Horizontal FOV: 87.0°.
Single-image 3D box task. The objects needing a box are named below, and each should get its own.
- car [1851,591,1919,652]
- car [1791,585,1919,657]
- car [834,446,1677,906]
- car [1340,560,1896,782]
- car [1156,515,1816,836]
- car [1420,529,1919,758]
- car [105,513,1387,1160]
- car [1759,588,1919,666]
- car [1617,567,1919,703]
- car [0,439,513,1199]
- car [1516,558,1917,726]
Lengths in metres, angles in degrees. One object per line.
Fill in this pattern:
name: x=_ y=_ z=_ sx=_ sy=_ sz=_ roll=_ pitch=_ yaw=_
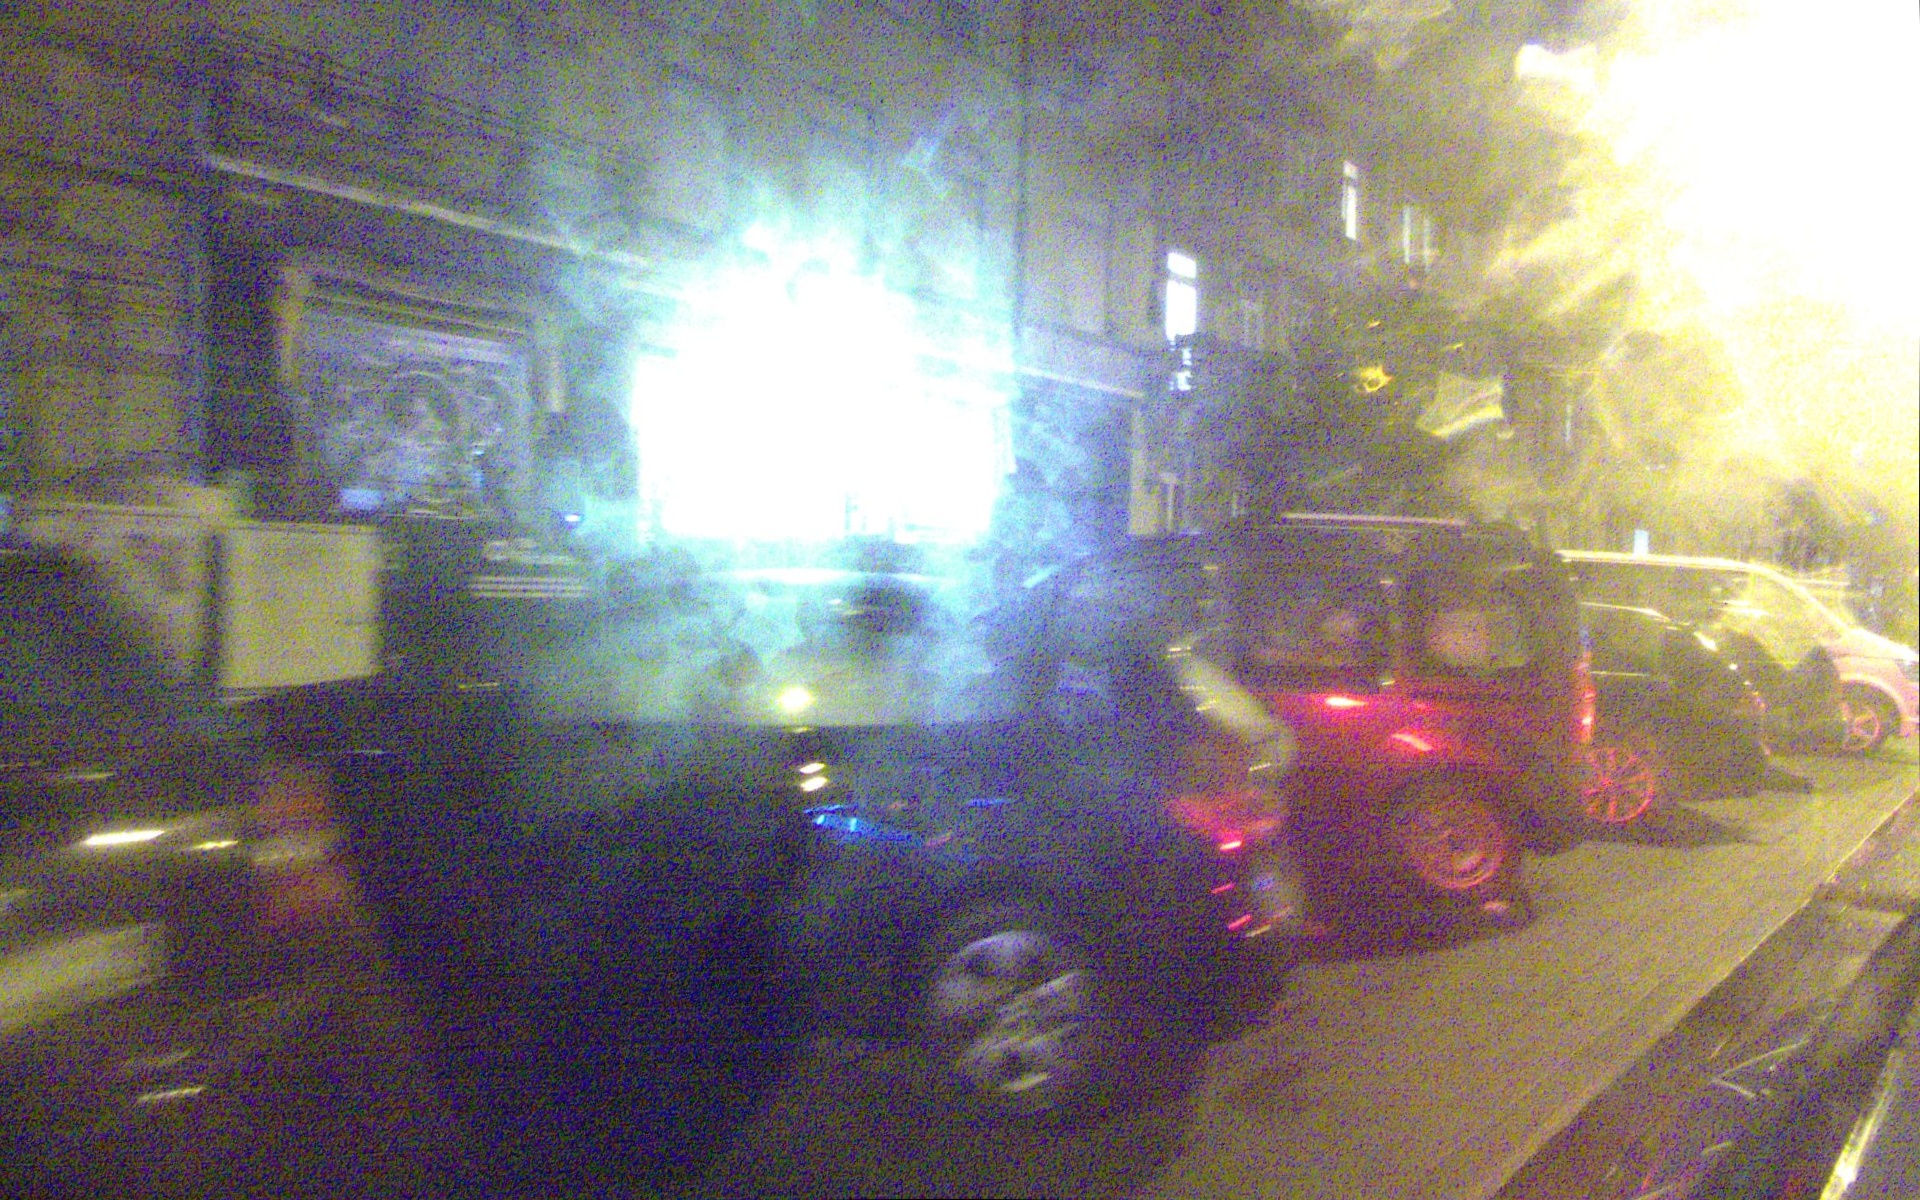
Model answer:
car: x=27.437 y=0.672 z=27.881 sx=3.897 sy=1.581 sz=1.695 roll=4 pitch=3 yaw=27
car: x=22.975 y=0.540 z=24.588 sx=3.897 sy=1.581 sz=1.695 roll=4 pitch=3 yaw=27
car: x=1.433 y=0.250 z=5.816 sx=3.875 sy=1.966 sz=1.737 roll=3 pitch=2 yaw=13
car: x=5.726 y=0.517 z=9.403 sx=3.880 sy=1.568 sz=1.735 roll=4 pitch=2 yaw=16
car: x=3.487 y=0.402 z=7.502 sx=3.875 sy=1.814 sz=1.737 roll=3 pitch=2 yaw=13
car: x=7.757 y=0.350 z=11.122 sx=4.656 sy=2.004 sz=1.966 roll=4 pitch=2 yaw=21
car: x=-0.747 y=0.500 z=3.711 sx=3.999 sy=1.471 sz=1.671 roll=2 pitch=1 yaw=15
car: x=20.410 y=0.607 z=22.394 sx=3.897 sy=1.481 sz=1.695 roll=4 pitch=3 yaw=27
car: x=12.066 y=0.451 z=14.775 sx=3.899 sy=1.639 sz=1.694 roll=4 pitch=3 yaw=28
car: x=-2.947 y=0.415 z=1.933 sx=3.657 sy=1.470 sz=1.649 roll=4 pitch=2 yaw=18
car: x=9.643 y=0.436 z=13.358 sx=3.899 sy=1.763 sz=1.694 roll=4 pitch=3 yaw=28
